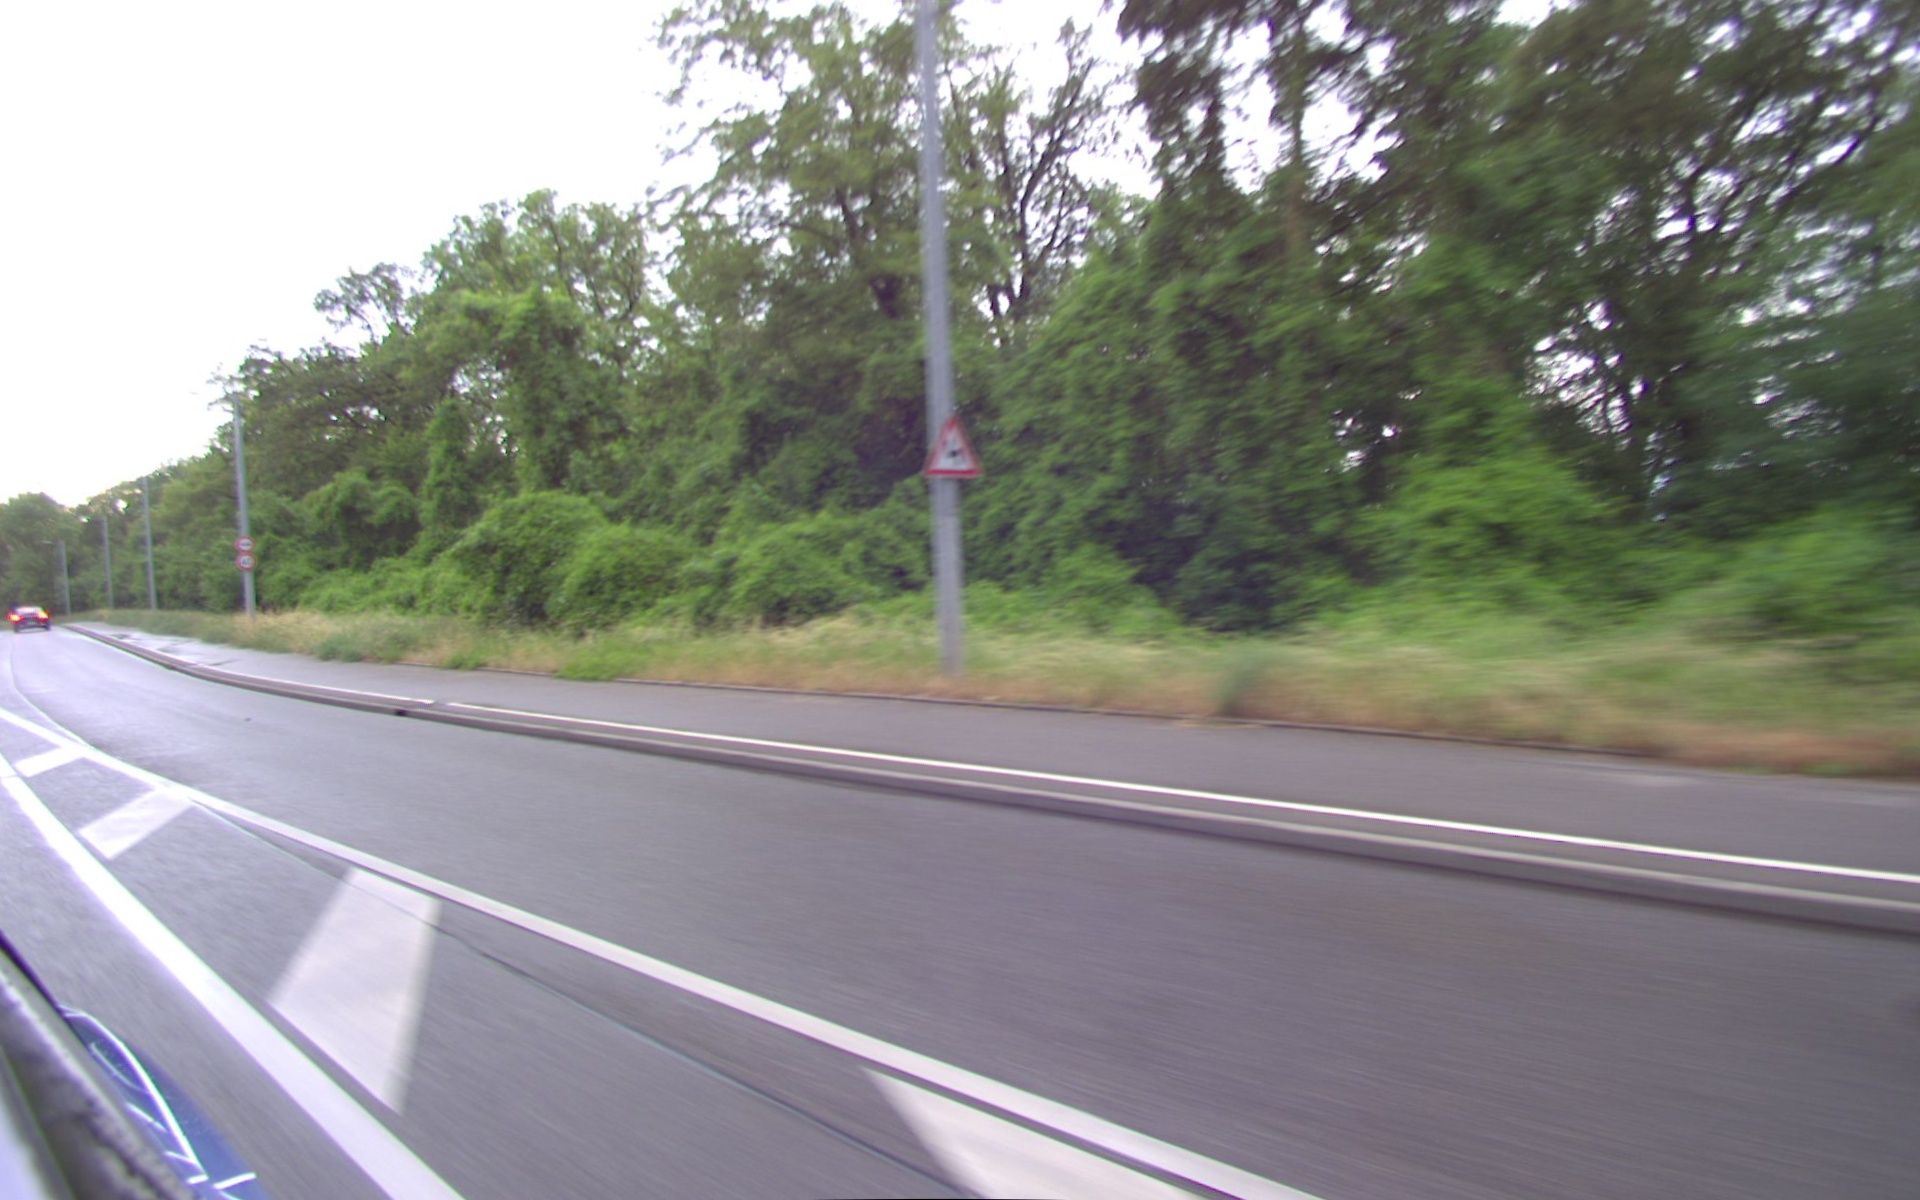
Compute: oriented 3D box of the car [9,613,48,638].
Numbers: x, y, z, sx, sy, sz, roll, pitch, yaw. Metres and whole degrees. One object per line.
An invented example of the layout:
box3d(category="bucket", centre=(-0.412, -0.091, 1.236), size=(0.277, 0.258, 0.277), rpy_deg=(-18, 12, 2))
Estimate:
box3d(category="car", centre=(-67.194, 1.828, 73.010), size=(1.969, 1.696, 4.005), rpy_deg=(-2, 0, -42))
